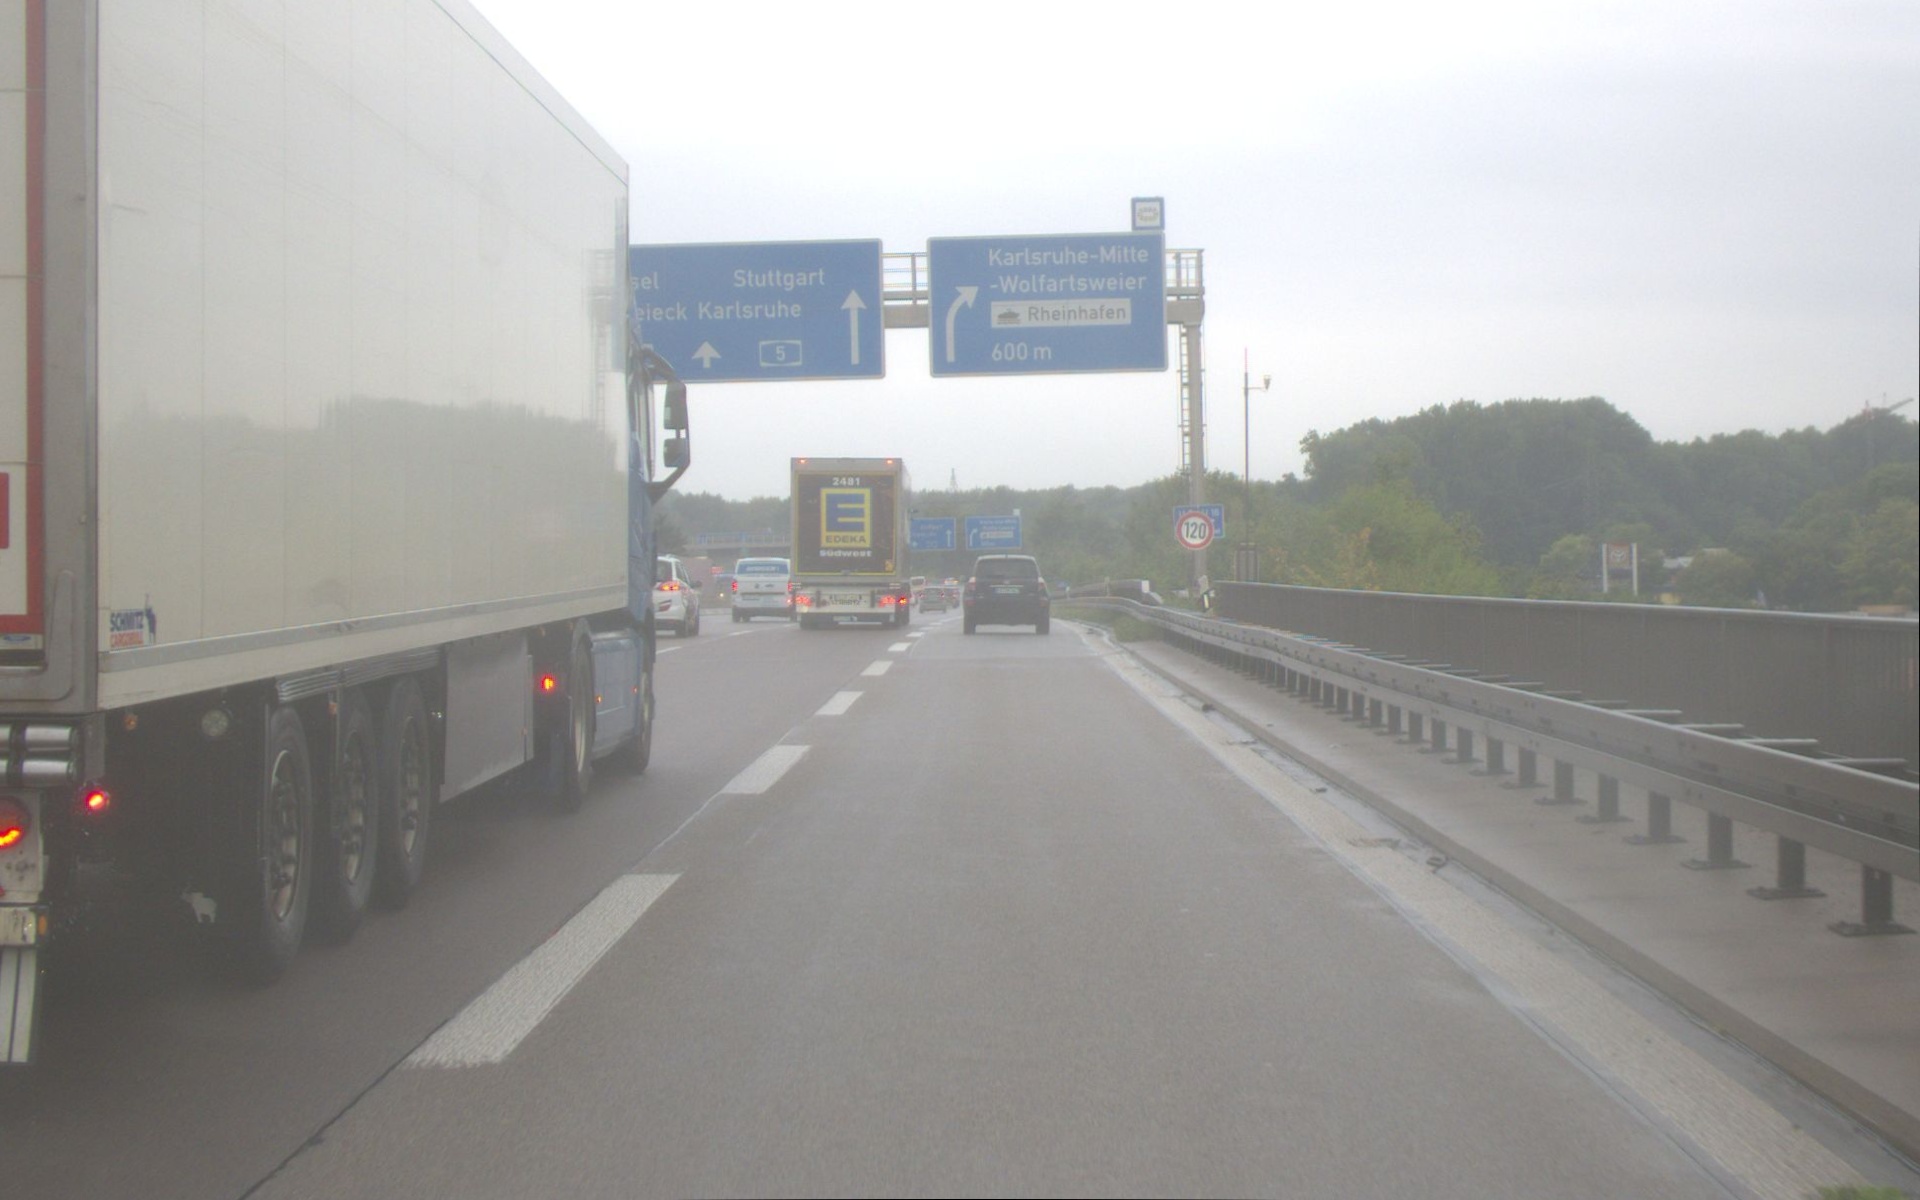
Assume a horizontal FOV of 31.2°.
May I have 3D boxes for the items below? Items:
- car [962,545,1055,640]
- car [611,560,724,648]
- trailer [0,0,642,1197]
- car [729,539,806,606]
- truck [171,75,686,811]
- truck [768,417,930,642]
[{"bbox_3d":[1.061,-0.162,73.515,1.897,1.943,4.000,1,0,2],"label":"car"},{"bbox_3d":[-5.938,0.069,70.159,1.894,1.718,4.000,1,0,1],"label":"car"},{"bbox_3d":[-3.322,-0.797,15.125,2.342,4.143,14.827,0,1,0],"label":"trailer"},{"bbox_3d":[-5.801,-0.836,104.139,2.049,1.943,4.000,1,0,1],"label":"car"},{"bbox_3d":[-3.252,-0.929,22.570,2.342,4.143,6.346,0,1,0],"label":"truck"},{"bbox_3d":[-2.620,-1.672,84.780,3.534,5.165,9.893,1,0,0],"label":"truck"}]
